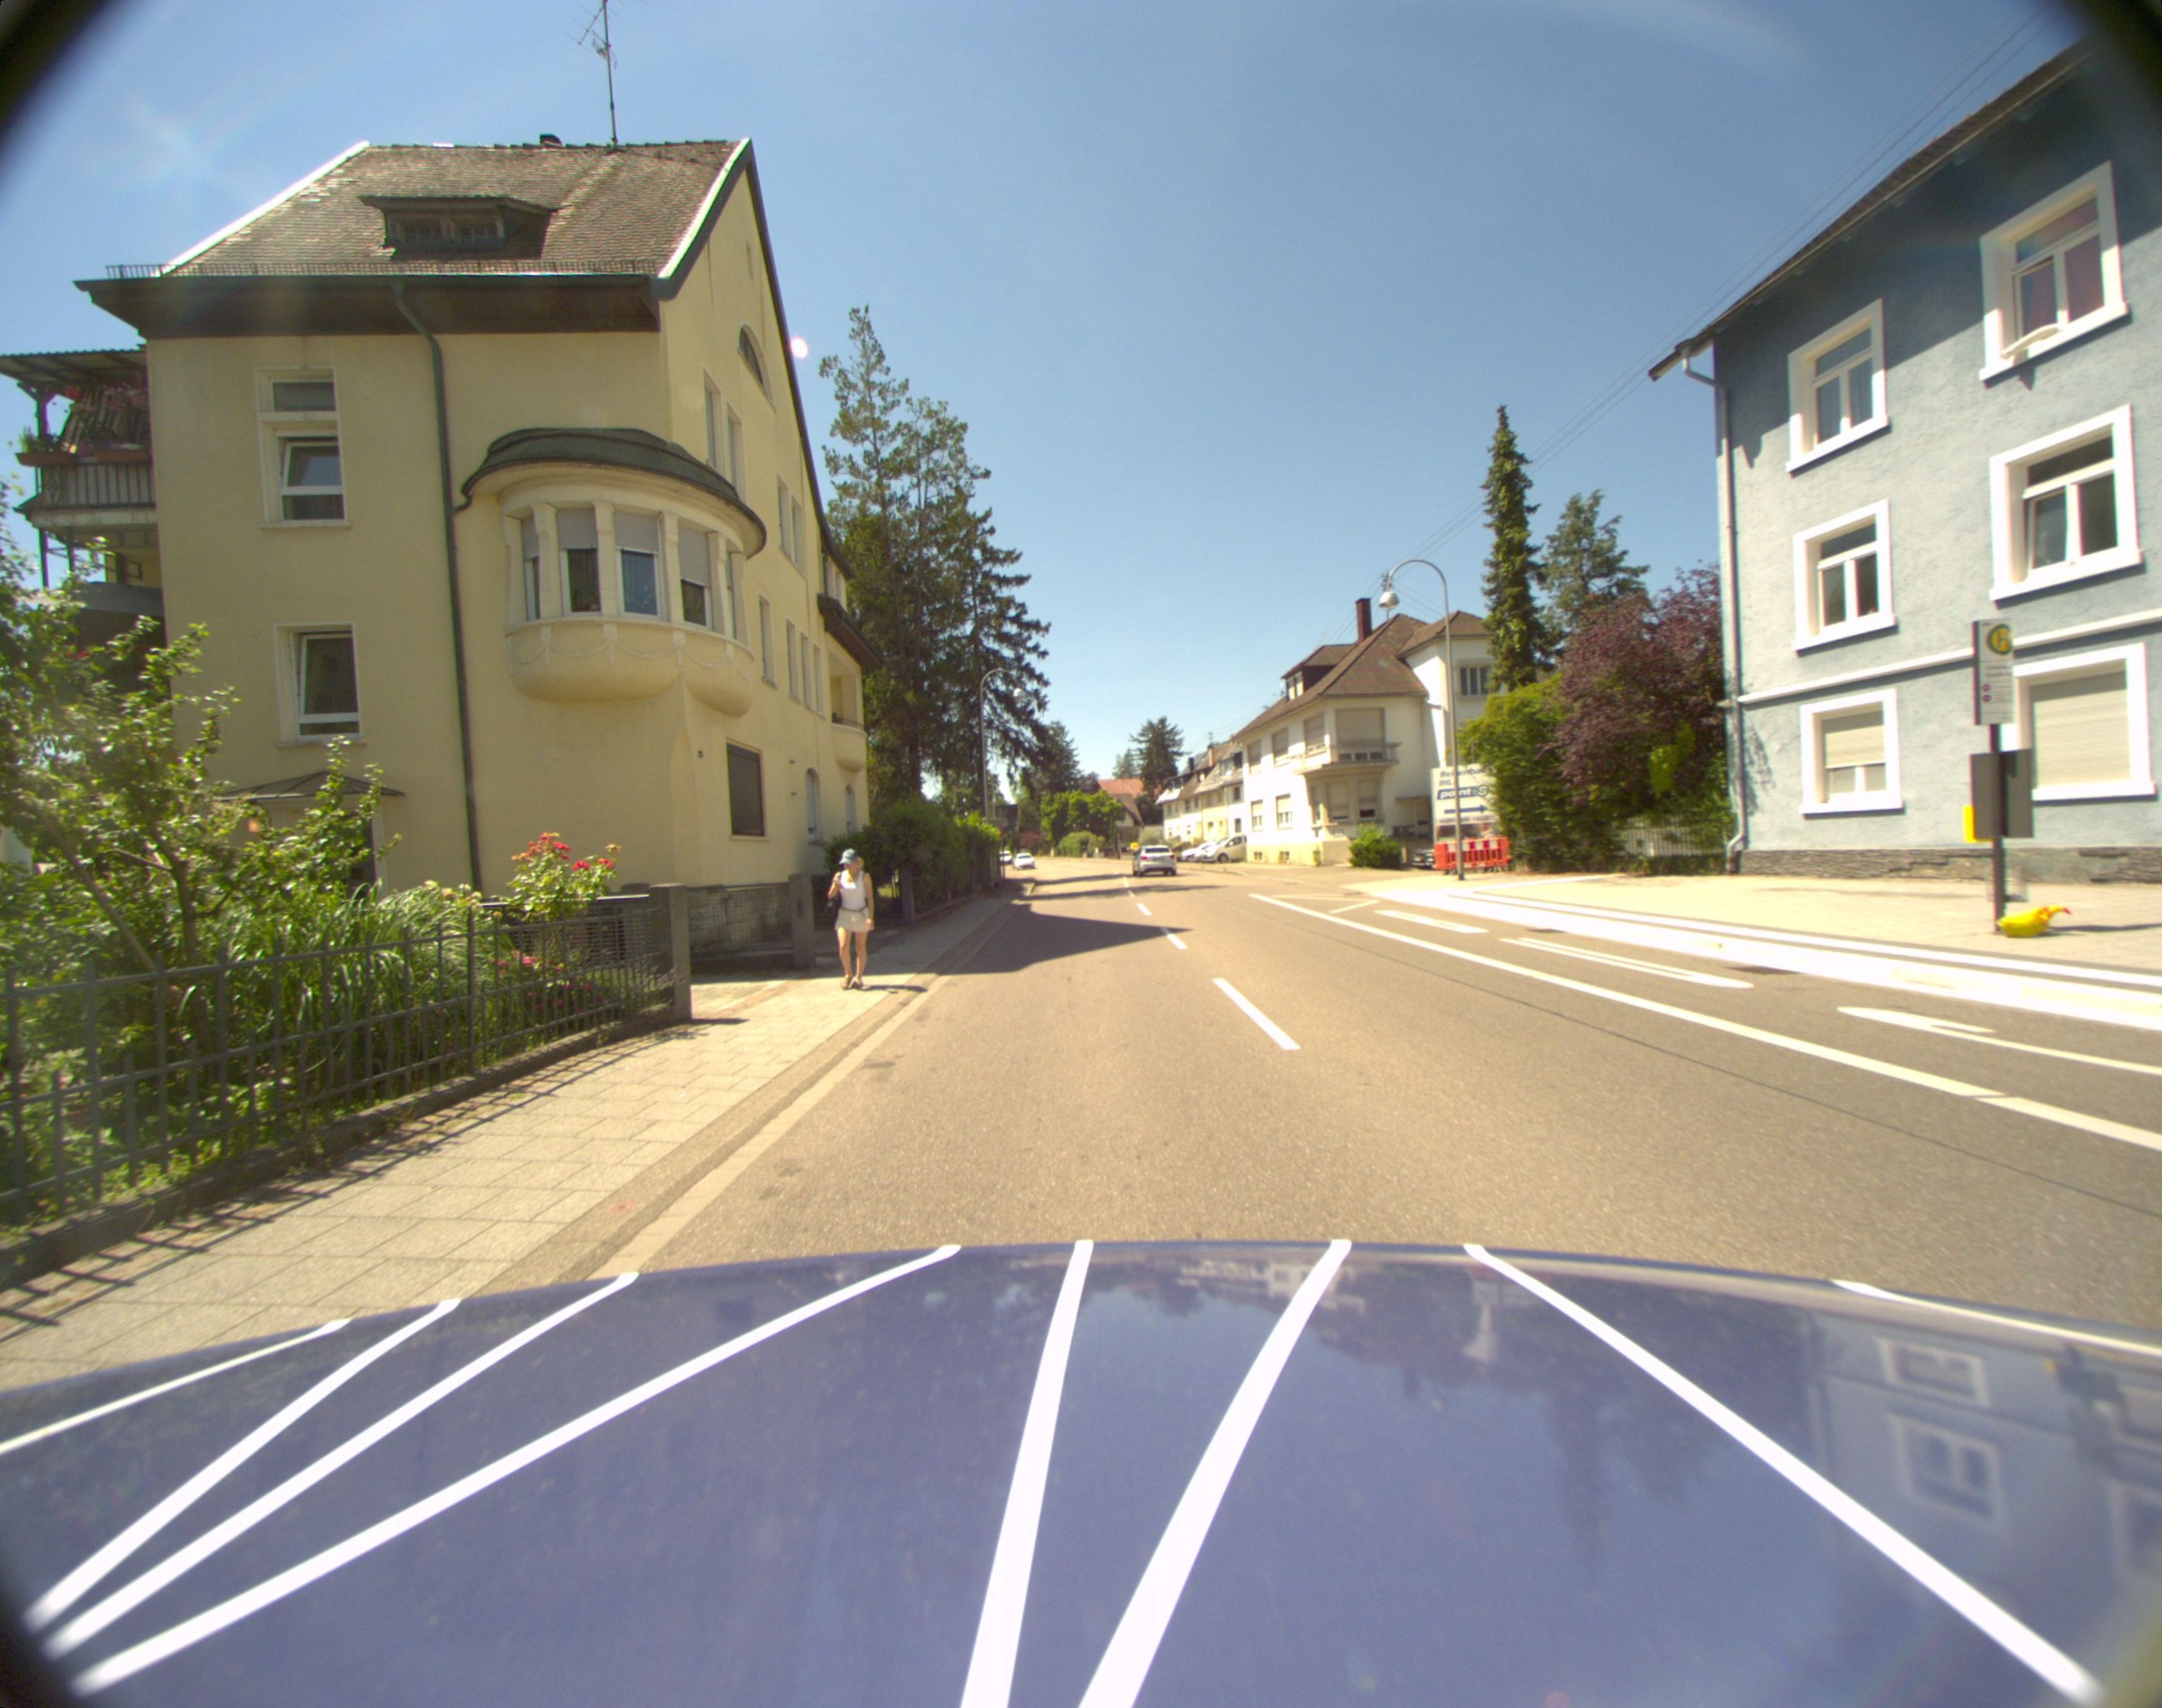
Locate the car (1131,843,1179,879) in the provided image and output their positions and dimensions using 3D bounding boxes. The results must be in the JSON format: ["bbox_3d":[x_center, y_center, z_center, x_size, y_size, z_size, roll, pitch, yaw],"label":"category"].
[{"bbox_3d":[3.607,0.291,37.533,1.825,1.521,3.948,-3,2,-1],"label":"car"}]

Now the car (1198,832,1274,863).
[{"bbox_3d":[9.922,-0.421,48.667,4.367,1.866,1.848,-1,0,-13],"label":"car"}]

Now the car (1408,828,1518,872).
[{"bbox_3d":[16.200,-0.160,32.315,3.935,1.529,1.565,-3,-6,-12],"label":"car"}]

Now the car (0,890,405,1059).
[{"bbox_3d":[-10.184,1.289,8.610,3.335,1.477,1.767,-3,1,-1],"label":"car"}]

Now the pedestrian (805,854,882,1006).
[{"bbox_3d":[-2.704,0.836,8.709,0.625,1.634,0.771,2,1,-4],"label":"pedestrian"}]

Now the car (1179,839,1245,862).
[{"bbox_3d":[9.335,-0.249,54.167,4.264,1.486,1.880,-1,0,26],"label":"car"}]

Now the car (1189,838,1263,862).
[{"bbox_3d":[9.709,-0.238,51.108,4.484,1.486,1.975,-1,0,-5],"label":"car"}]

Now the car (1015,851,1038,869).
[{"bbox_3d":[-5.001,0.516,69.661,1.689,1.446,3.736,-5,1,-8],"label":"car"}]

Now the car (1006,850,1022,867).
[{"bbox_3d":[-8.299,0.560,94.706,1.689,1.770,3.937,-4,3,-3],"label":"car"}]
